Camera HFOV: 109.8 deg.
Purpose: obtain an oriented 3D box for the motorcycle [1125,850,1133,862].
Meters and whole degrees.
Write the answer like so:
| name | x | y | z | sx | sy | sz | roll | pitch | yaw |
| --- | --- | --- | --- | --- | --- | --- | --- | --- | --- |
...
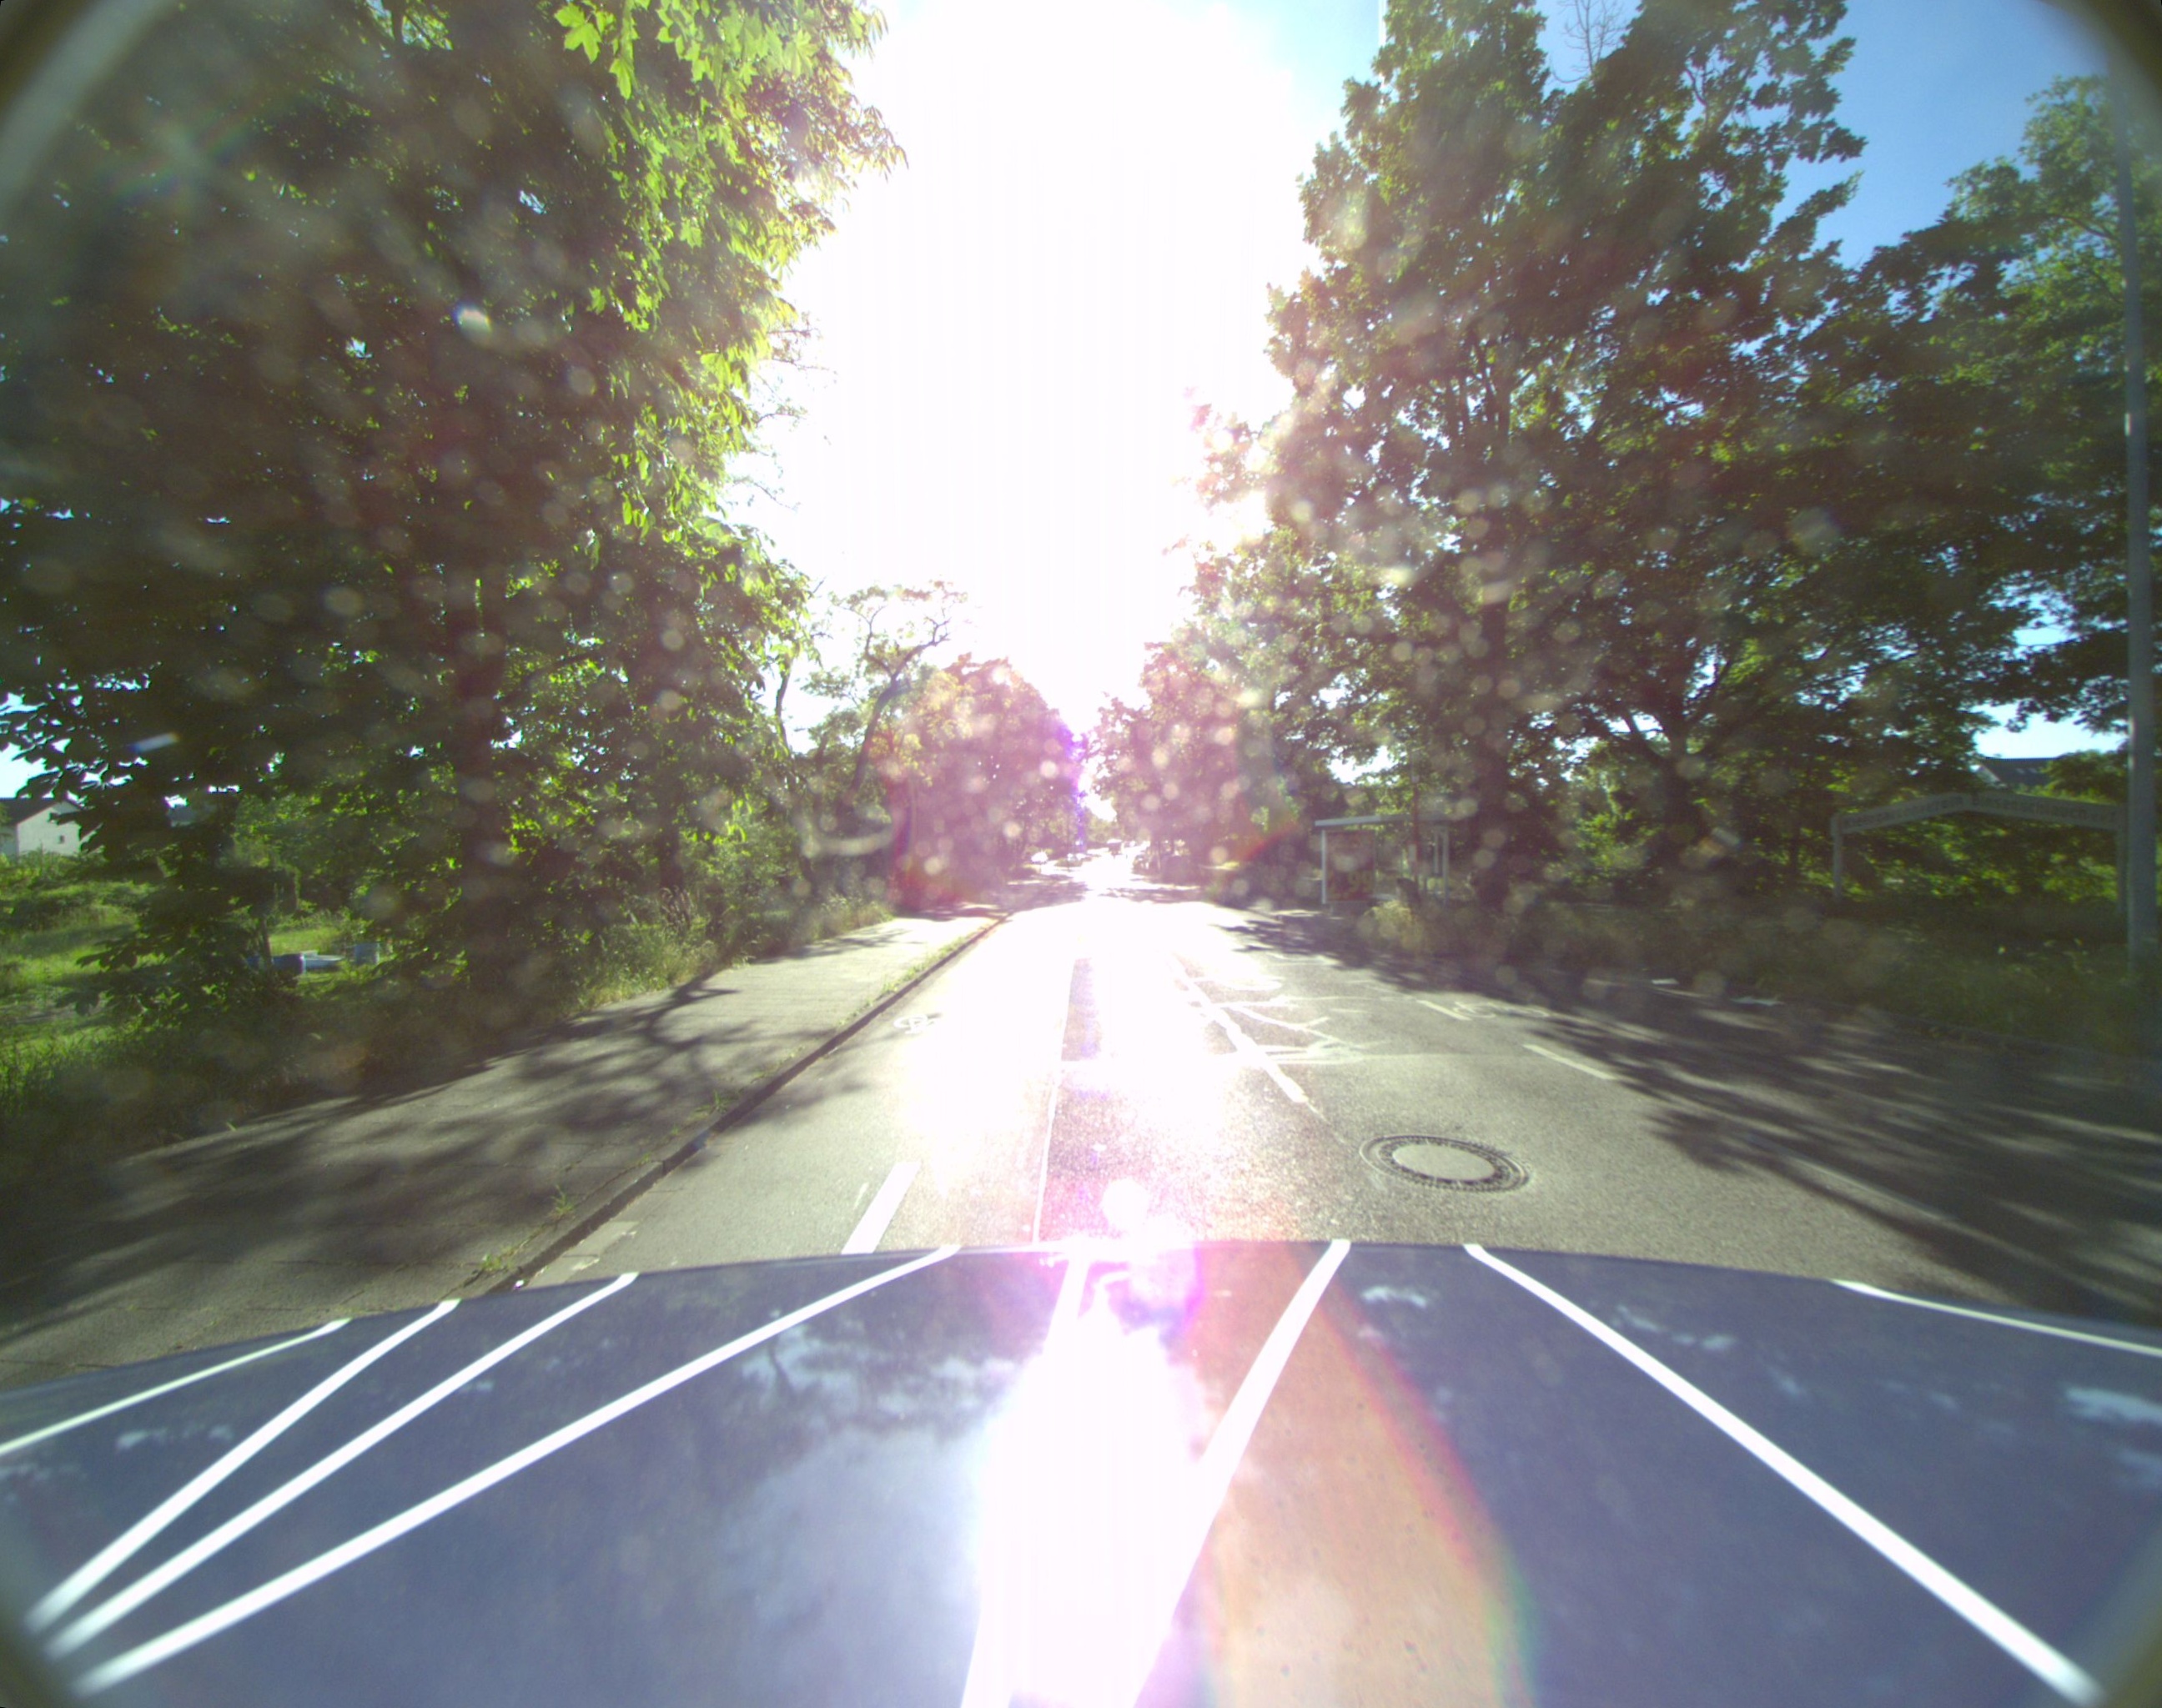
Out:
| name | x | y | z | sx | sy | sz | roll | pitch | yaw |
| --- | --- | --- | --- | --- | --- | --- | --- | --- | --- |
| motorcycle | 6.932 | 0.330 | 109.710 | 0.815 | 1.667 | 2.411 | -3 | 1 | -2 |

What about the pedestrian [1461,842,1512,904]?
| name | x | y | z | sx | sy | sz | roll | pitch | yaw |
| --- | --- | --- | --- | --- | --- | --- | --- | --- | --- |
| pedestrian | 11.353 | 0.529 | 21.278 | 0.915 | 1.678 | 0.891 | -2 | 0 | 2 |

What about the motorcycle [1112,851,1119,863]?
| name | x | y | z | sx | sy | sz | roll | pitch | yaw |
| --- | --- | --- | --- | --- | --- | --- | --- | --- | --- |
| motorcycle | 4.976 | 0.434 | 110.044 | 0.815 | 1.624 | 2.411 | -3 | 1 | -2 |

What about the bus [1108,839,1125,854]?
| name | x | y | z | sx | sy | sz | roll | pitch | yaw |
| --- | --- | --- | --- | --- | --- | --- | --- | --- | --- |
| bus | 7.697 | -1.642 | 166.571 | 2.790 | 2.965 | 12.894 | -2 | 0 | -1 |

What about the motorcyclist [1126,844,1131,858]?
| name | x | y | z | sx | sy | sz | roll | pitch | yaw |
| --- | --- | --- | --- | --- | --- | --- | --- | --- | --- |
| motorcyclist | 6.893 | -0.403 | 109.871 | 0.537 | 2.002 | 0.826 | -3 | 1 | -2 |

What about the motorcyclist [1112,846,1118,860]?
| name | x | y | z | sx | sy | sz | roll | pitch | yaw |
| --- | --- | --- | --- | --- | --- | --- | --- | --- | --- |
| motorcyclist | 4.948 | -0.145 | 110.185 | 0.640 | 2.002 | 0.739 | -3 | 1 | -2 |
